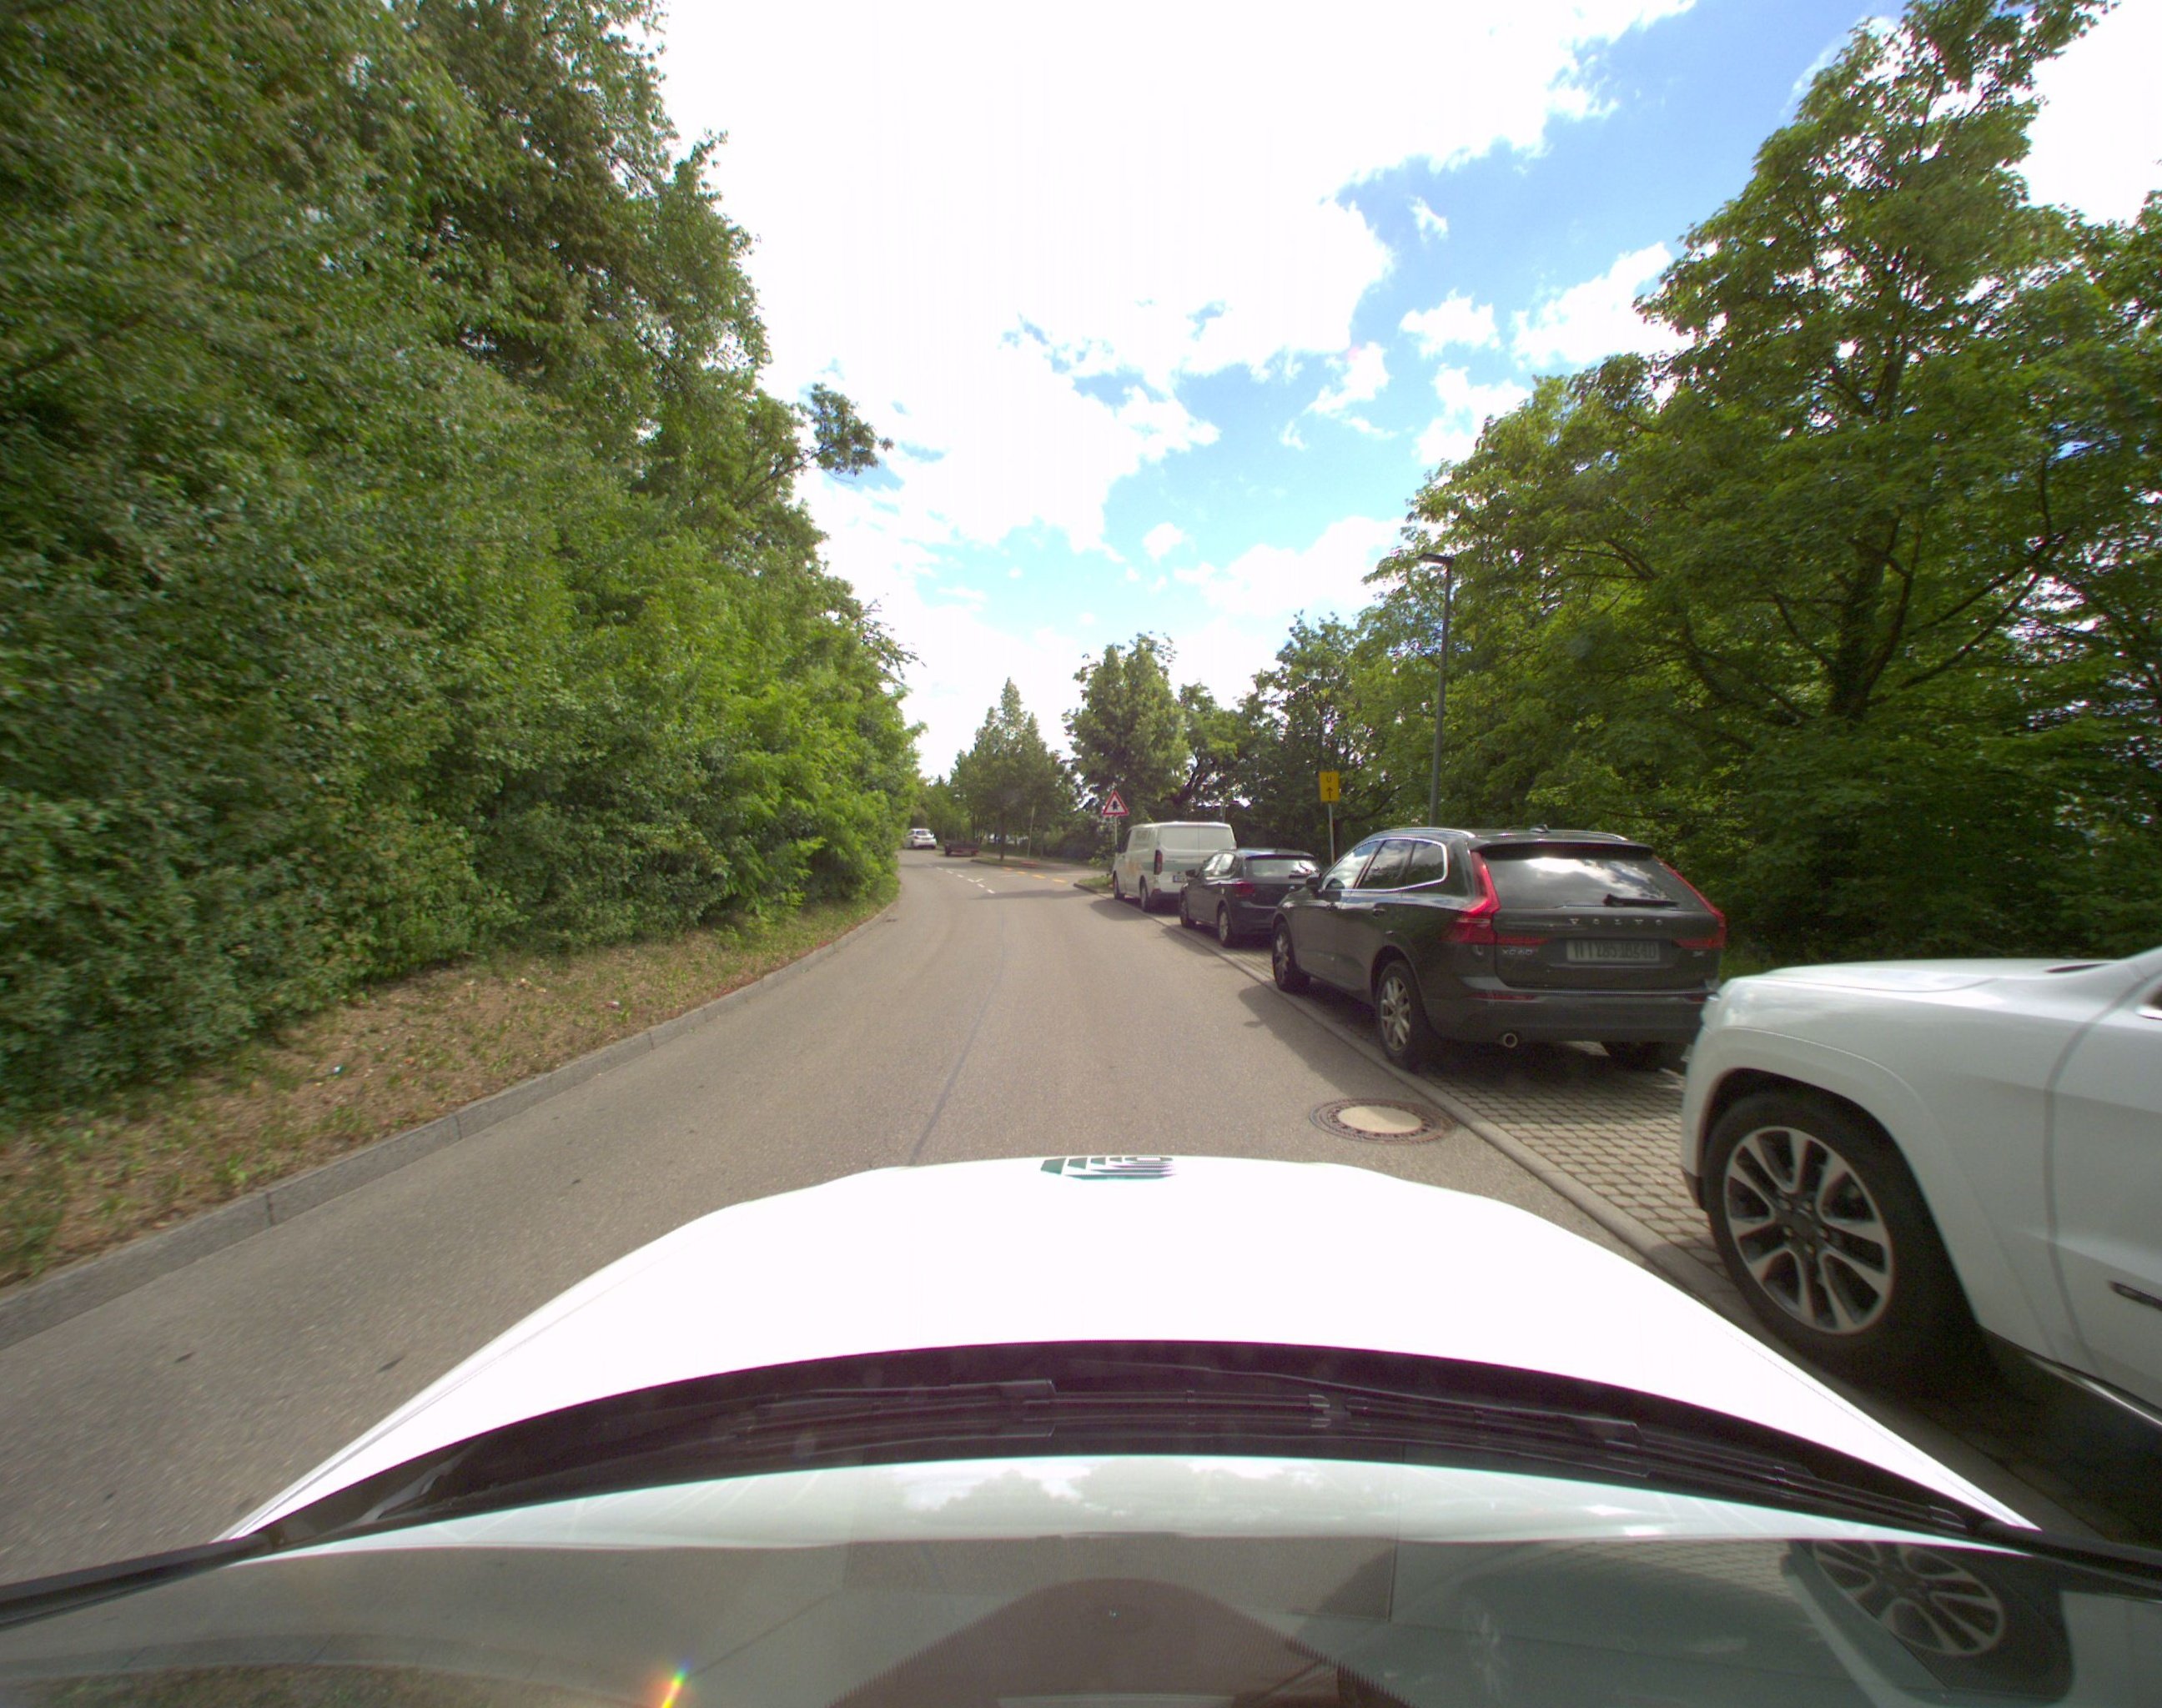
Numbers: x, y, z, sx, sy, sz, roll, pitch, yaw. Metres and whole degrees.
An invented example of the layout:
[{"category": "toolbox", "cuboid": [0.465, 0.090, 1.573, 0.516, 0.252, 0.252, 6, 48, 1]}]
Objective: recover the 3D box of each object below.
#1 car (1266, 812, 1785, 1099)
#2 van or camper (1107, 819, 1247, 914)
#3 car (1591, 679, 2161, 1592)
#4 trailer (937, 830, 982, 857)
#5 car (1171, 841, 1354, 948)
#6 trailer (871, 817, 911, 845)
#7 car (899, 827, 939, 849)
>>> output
[{"category": "car", "cuboid": [3.066, 0.544, 6.837, 1.988, 1.626, 4.276, -1, 1, -1]}, {"category": "van or camper", "cuboid": [2.055, 0.210, 19.287, 1.993, 1.920, 5.251, 0, 1, -8]}, {"category": "car", "cuboid": [2.941, 0.558, 0.924, 1.865, 1.689, 4.580, 3, 1, 1]}, {"category": "trailer", "cuboid": [-7.710, -0.710, 51.297, 1.793, 1.525, 3.969, 0, 3, -24]}, {"category": "car", "cuboid": [2.771, 0.558, 13.387, 1.795, 1.464, 3.993, 2, 0, -5]}, {"category": "trailer", "cuboid": [-15.185, -1.843, 64.880, 1.753, 2.110, 3.958, -2, 4, -35]}, {"category": "car", "cuboid": [-11.861, -1.171, 59.469, 1.780, 1.411, 3.964, -1, 4, -29]}]
